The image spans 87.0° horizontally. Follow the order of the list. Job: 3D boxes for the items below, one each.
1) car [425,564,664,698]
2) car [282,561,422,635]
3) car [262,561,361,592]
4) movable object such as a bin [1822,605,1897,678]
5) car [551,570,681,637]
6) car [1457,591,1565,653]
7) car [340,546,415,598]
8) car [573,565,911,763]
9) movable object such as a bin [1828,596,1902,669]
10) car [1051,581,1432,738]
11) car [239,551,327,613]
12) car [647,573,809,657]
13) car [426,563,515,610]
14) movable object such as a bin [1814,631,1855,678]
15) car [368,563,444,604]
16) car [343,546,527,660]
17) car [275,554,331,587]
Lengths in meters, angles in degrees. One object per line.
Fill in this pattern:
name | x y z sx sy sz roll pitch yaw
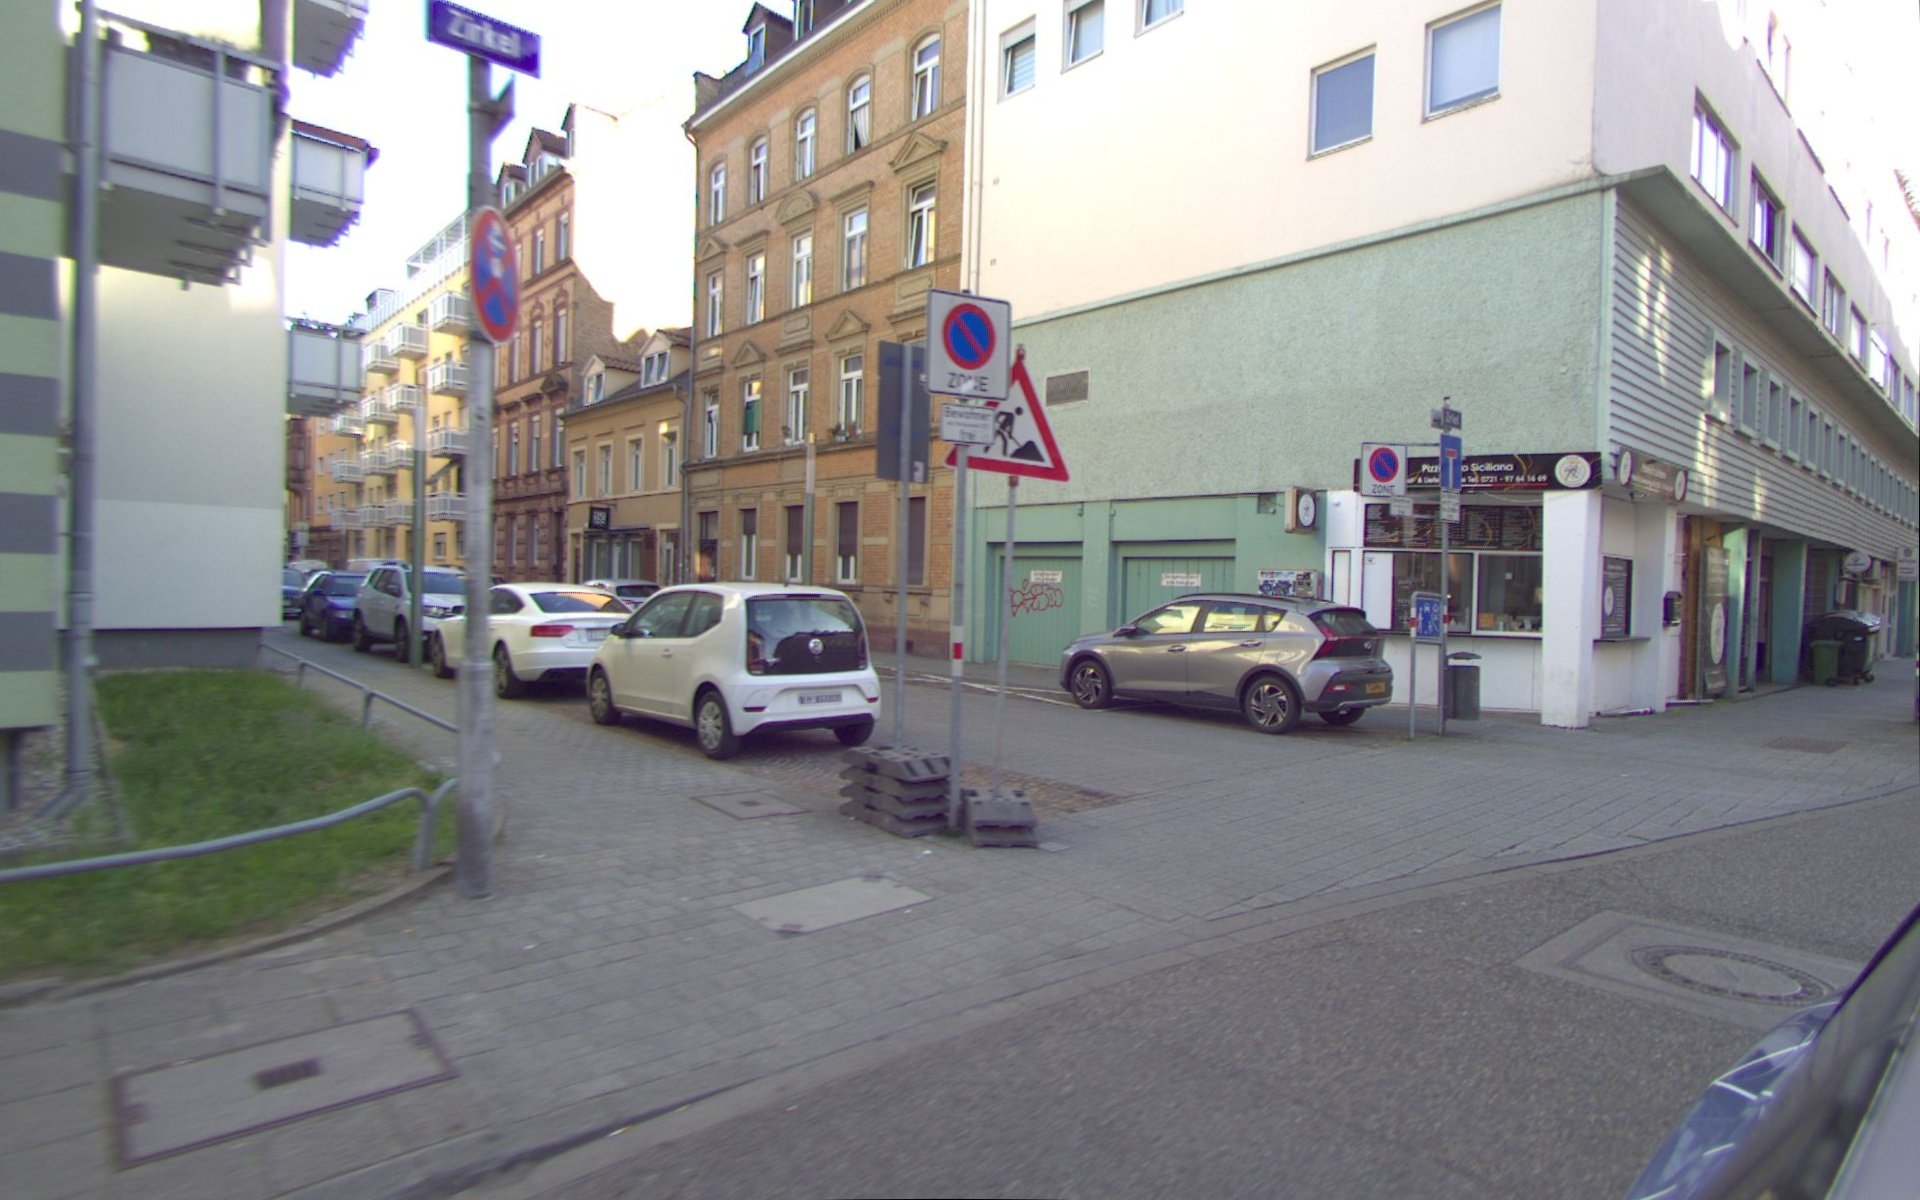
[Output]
car | -5.677 0.296 13.544 1.679 1.500 4.217 0 1 -41
car | -13.278 -0.066 21.983 1.759 1.448 4.177 0 0 -43
car | -31.376 -1.171 49.093 3.701 1.476 1.779 -1 2 -18
movable object such as a bin | 19.133 0.847 21.529 1.298 1.401 0.983 -2 4 -41
car | -8.685 0.029 25.364 1.752 1.500 3.963 -1 3 -40
car | 14.921 0.568 27.334 3.342 1.487 1.584 1 2 -44
car | -26.282 -1.225 45.592 2.123 2.167 4.649 -2 0 -40
car | -2.245 0.459 9.816 1.679 1.500 3.552 0 2 -41
movable object such as a bin | 20.274 0.698 22.668 1.524 1.498 0.983 -2 4 -41
car | 3.224 0.564 12.214 1.833 1.500 4.084 0 1 -42
car | -20.403 -0.516 30.424 1.757 1.739 4.337 0 0 -40
car | -4.903 0.227 20.996 1.644 1.500 4.179 -1 3 -38
car | -16.529 -0.460 34.061 1.752 1.500 3.962 -2 2 -40
movable object such as a bin | 18.258 1.127 21.129 0.514 0.910 0.558 -2 4 -40
car | -22.624 -0.706 41.261 1.989 1.566 3.941 -2 3 -40
car | -9.382 0.021 17.936 1.758 1.739 4.027 5 -2 -43
car | -37.687 -1.739 57.999 2.123 1.816 4.651 -2 3 -40
